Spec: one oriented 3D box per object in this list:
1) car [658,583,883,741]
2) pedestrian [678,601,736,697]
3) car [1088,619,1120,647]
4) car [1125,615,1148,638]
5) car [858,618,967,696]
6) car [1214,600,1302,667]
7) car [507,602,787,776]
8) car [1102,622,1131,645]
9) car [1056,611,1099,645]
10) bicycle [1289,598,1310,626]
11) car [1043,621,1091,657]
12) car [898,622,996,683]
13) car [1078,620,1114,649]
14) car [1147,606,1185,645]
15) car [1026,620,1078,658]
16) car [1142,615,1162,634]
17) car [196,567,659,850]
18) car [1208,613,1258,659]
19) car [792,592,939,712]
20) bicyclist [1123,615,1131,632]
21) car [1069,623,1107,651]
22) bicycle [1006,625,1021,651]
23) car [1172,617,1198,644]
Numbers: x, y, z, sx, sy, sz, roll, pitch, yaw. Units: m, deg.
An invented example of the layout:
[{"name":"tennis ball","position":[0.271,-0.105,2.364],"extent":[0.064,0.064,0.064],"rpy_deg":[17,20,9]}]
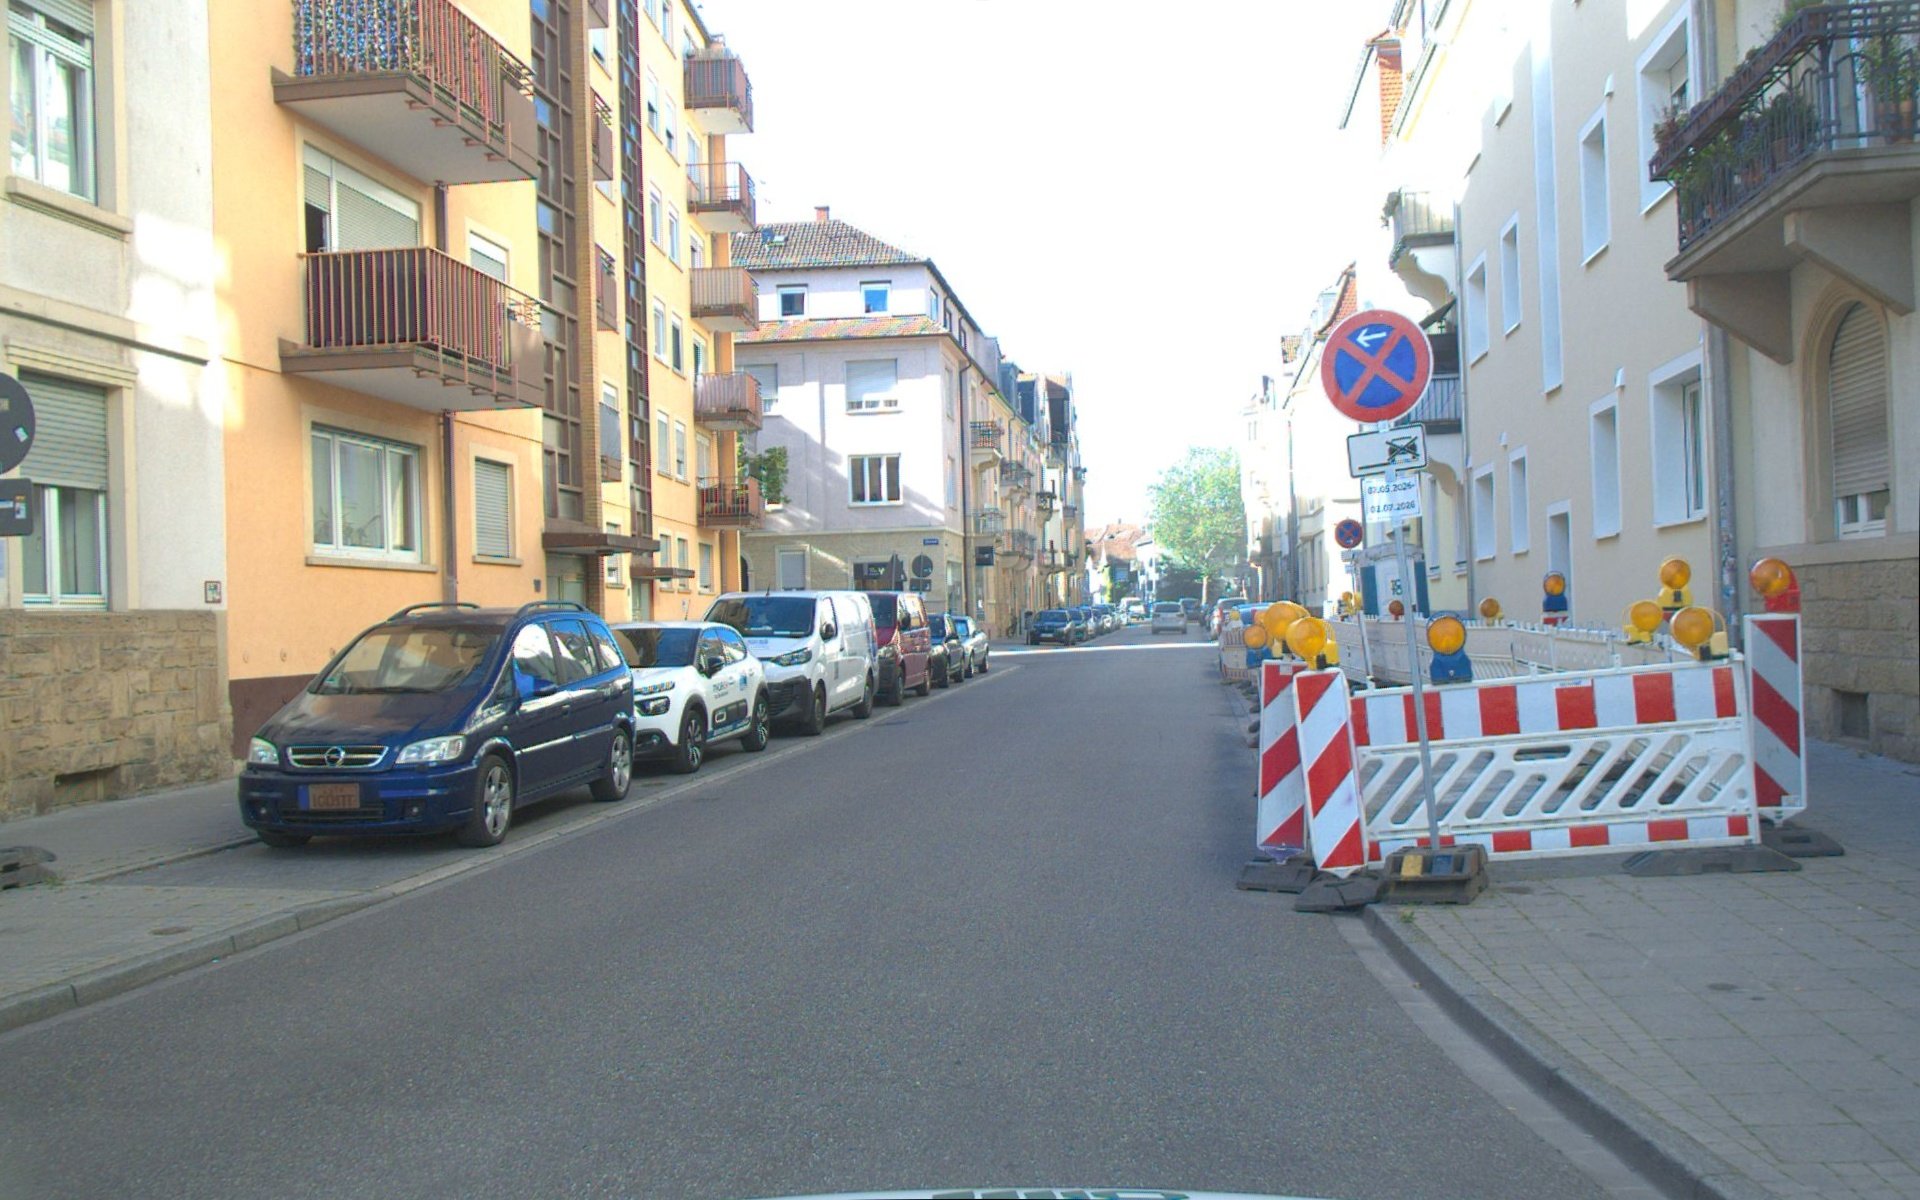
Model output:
[{"name":"car","position":[-2.503,0.813,23.359],"extent":[1.933,1.959,5.313],"rpy_deg":[0,-1,7]},{"name":"pedestrian","position":[-4.944,0.951,32.384],"extent":[0.904,1.849,0.995],"rpy_deg":[0,-1,4]},{"name":"car","position":[9.590,2.205,109.775],"extent":[1.961,1.819,4.490],"rpy_deg":[1,-2,7]},{"name":"car","position":[16.229,2.471,152.212],"extent":[1.961,2.035,4.490],"rpy_deg":[1,-2,7]},{"name":"car","position":[-0.948,1.169,34.998],"extent":[1.725,1.529,4.003],"rpy_deg":[-1,-1,6]},{"name":"car","position":[7.459,0.838,41.742],"extent":[1.726,1.496,4.087],"rpy_deg":[-3,-1,5]},{"name":"car","position":[-3.229,0.879,17.977],"extent":[1.725,1.649,4.298],"rpy_deg":[0,-1,7]},{"name":"car","position":[11.813,2.518,124.642],"extent":[1.961,1.633,4.490],"rpy_deg":[1,-2,7]},{"name":"car","position":[6.107,1.488,85.781],"extent":[1.961,1.647,4.490],"rpy_deg":[1,-2,7]},{"name":"bicycle","position":[15.448,0.549,75.219],"extent":[0.745,1.268,2.593],"rpy_deg":[-1,-1,8]},{"name":"car","position":[5.074,1.846,78.206],"extent":[1.961,1.610,4.490],"rpy_deg":[1,-2,7]},{"name":"car","position":[-0.260,1.236,40.248],"extent":[1.725,1.402,4.481],"rpy_deg":[0,-1,8]},{"name":"car","position":[8.157,2.079,98.881],"extent":[1.961,1.647,4.490],"rpy_deg":[1,-2,7]},{"name":"car","position":[11.200,1.404,89.573],"extent":[1.961,1.947,4.490],"rpy_deg":[1,-2,8]},{"name":"car","position":[3.792,1.608,67.603],"extent":[1.644,1.451,4.277],"rpy_deg":[1,-2,10]},{"name":"car","position":[20.238,2.621,174.257],"extent":[1.961,1.849,4.490],"rpy_deg":[1,-2,7]},{"name":"car","position":[-3.834,0.725,12.798],"extent":[1.725,1.802,4.297],"rpy_deg":[0,-1,7]},{"name":"car","position":[10.951,1.481,66.180],"extent":[1.872,1.673,4.776],"rpy_deg":[-2,-3,10]},{"name":"car","position":[-1.580,0.884,29.502],"extent":[1.725,1.959,4.938],"rpy_deg":[0,-1,7]},{"name":"bicyclist","position":[14.354,1.993,141.995],"extent":[0.648,1.410,0.754],"rpy_deg":[-2,-2,7]},{"name":"car","position":[7.330,2.137,94.193],"extent":[1.936,1.508,4.331],"rpy_deg":[1,-2,7]},{"name":"bicycle","position":[2.728,1.914,83.766],"extent":[0.529,1.324,1.868],"rpy_deg":[0,-1,9]},{"name":"car","position":[17.720,2.388,130.314],"extent":[1.961,2.035,4.490],"rpy_deg":[1,-2,7]}]
